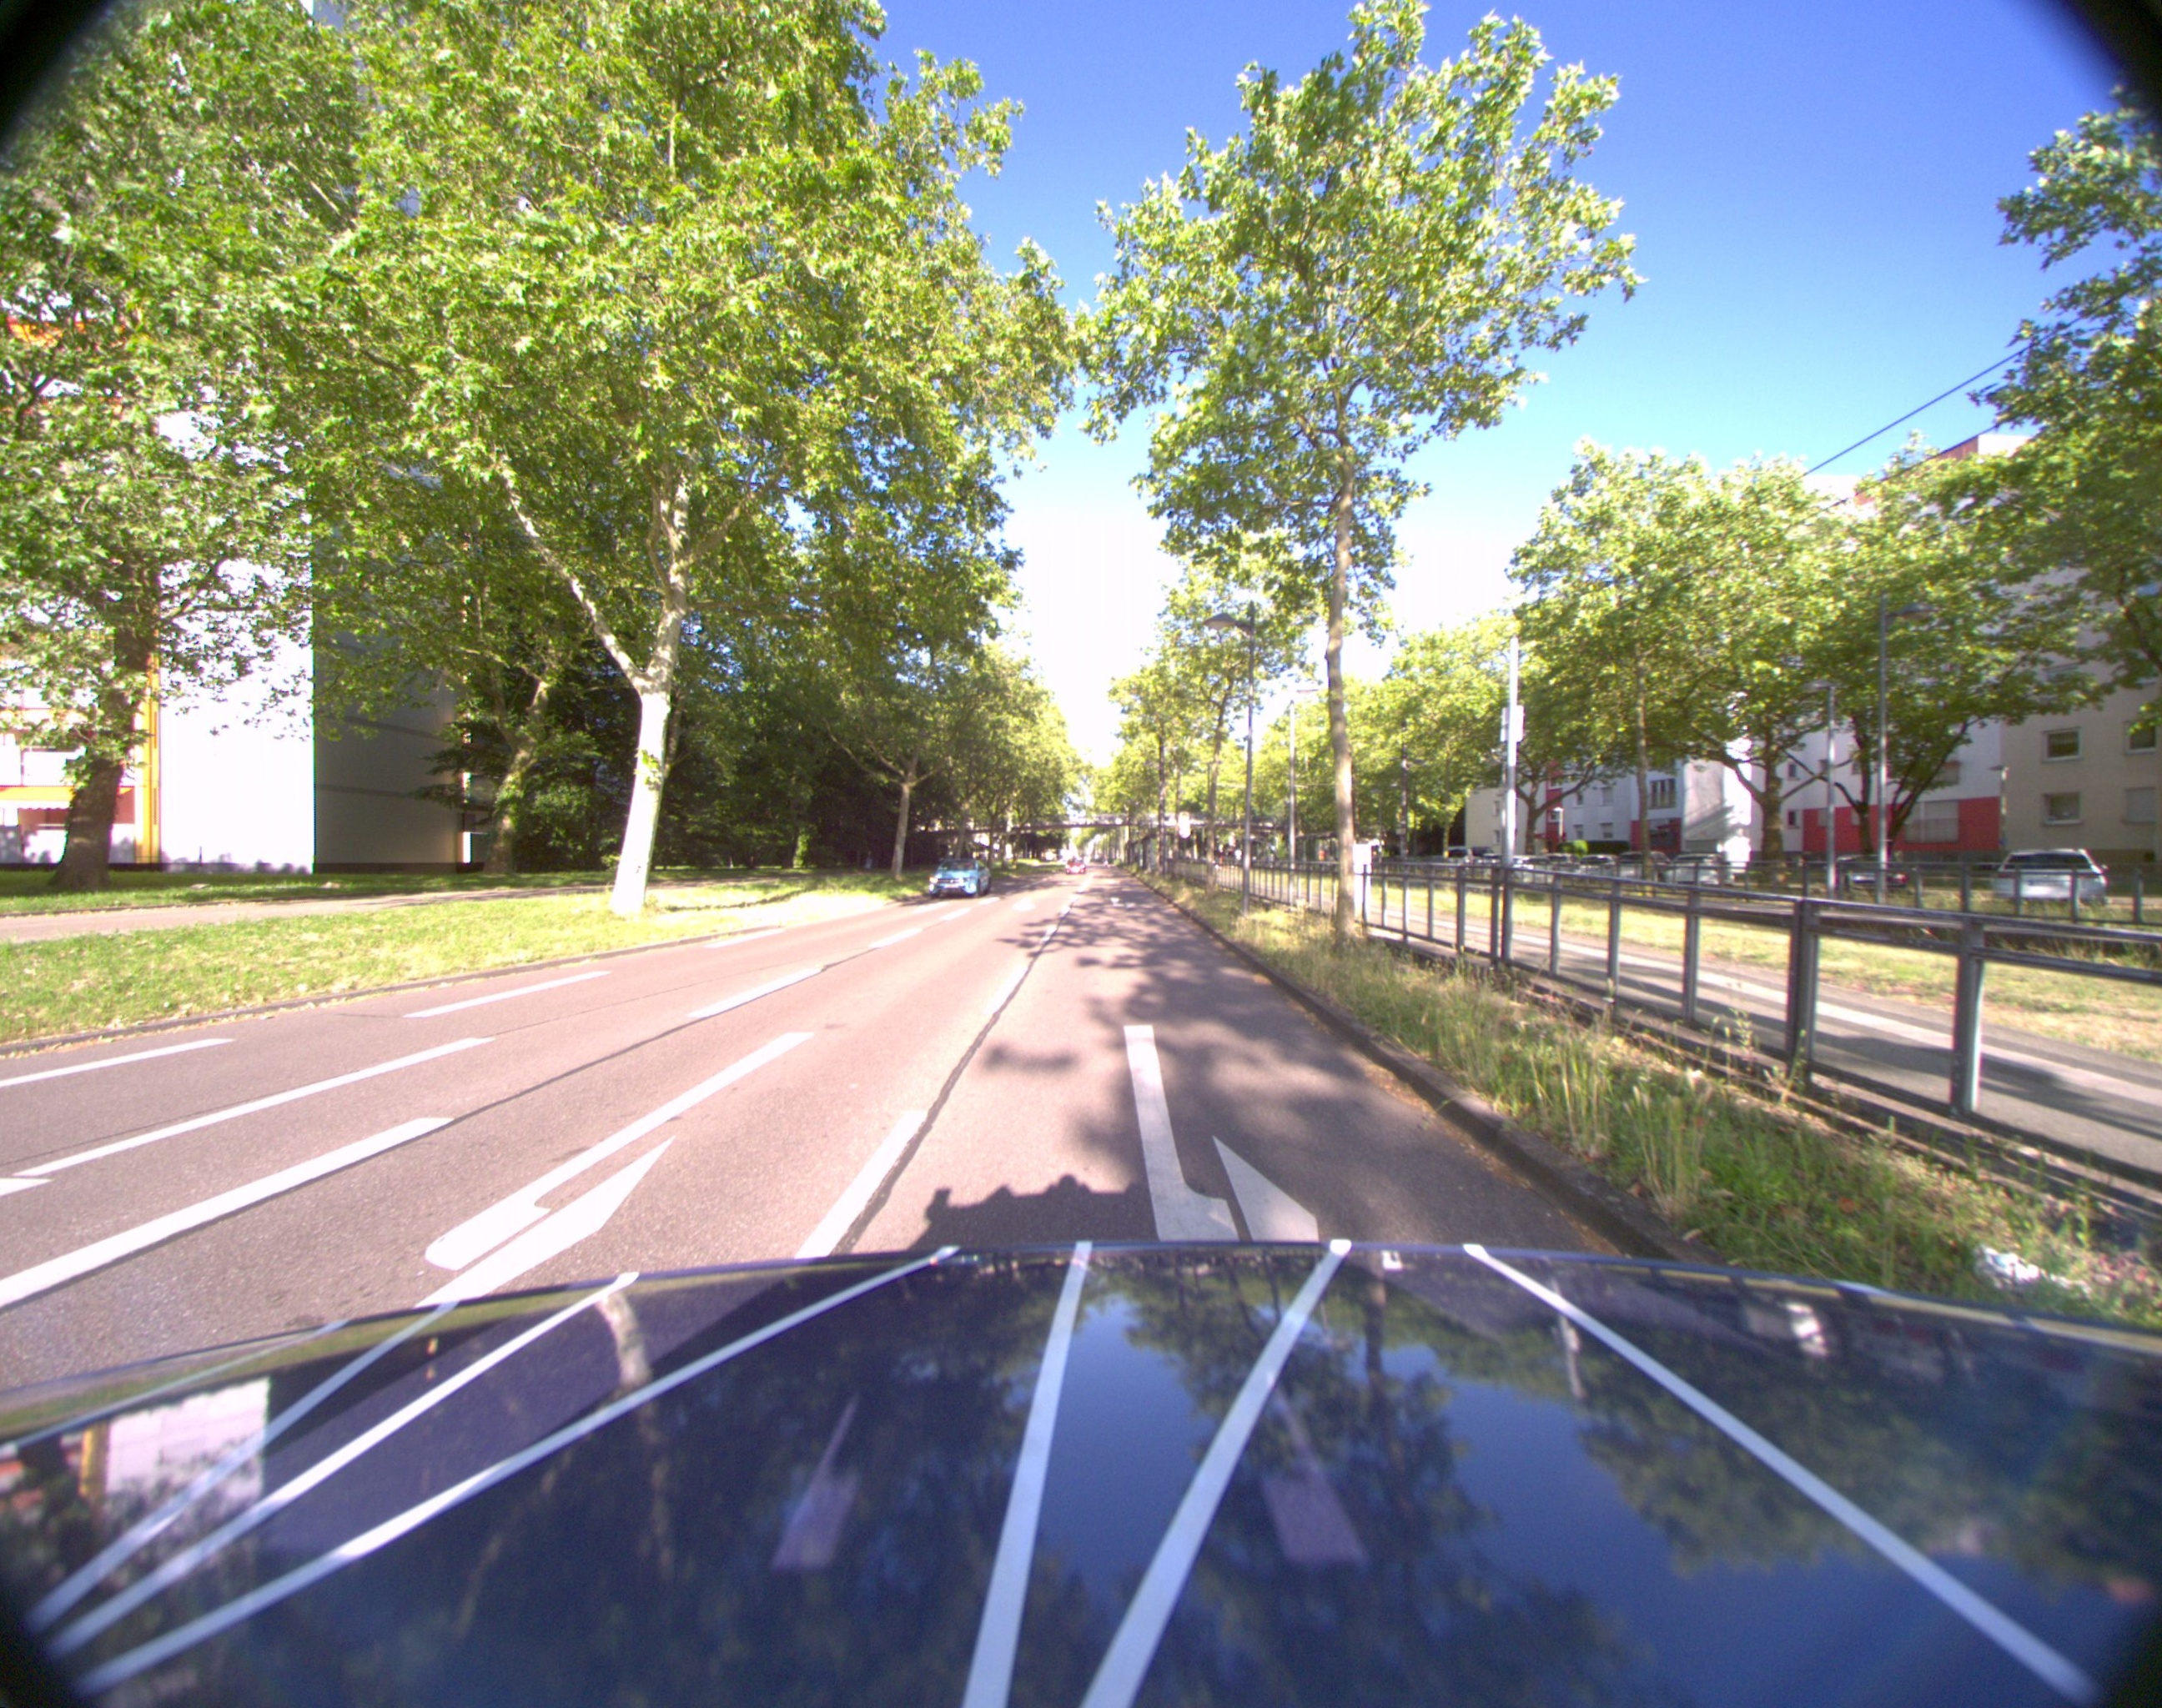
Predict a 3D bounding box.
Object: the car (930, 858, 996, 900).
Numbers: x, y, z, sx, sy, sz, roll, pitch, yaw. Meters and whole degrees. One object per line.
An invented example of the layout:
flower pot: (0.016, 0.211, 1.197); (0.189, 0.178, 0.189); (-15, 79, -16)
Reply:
car: (-4.494, 0.913, 29.493); (1.780, 1.475, 4.101); (-2, 0, 2)

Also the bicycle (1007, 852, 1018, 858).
bicycle: (-12.715, 0.204, 141.384); (2.073, 1.151, 0.561); (1, 1, -10)

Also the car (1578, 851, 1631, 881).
car: (26.309, 0.582, 38.109); (1.571, 1.424, 4.068); (-2, -1, 43)

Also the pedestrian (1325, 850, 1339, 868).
pedestrian: (16.410, 0.343, 49.715); (0.696, 1.121, 0.662); (3, 1, 2)

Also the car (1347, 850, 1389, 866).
car: (27.495, 0.400, 72.779); (4.208, 1.420, 1.696); (-2, -1, -37)

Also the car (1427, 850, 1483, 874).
car: (26.429, 0.561, 53.609); (4.509, 1.489, 1.895); (-2, -1, -40)

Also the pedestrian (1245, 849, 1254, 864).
pedestrian: (17.029, 0.204, 76.820); (0.644, 1.505, 0.683); (1, 1, -11)

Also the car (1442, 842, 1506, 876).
car: (26.021, 0.311, 50.251); (4.508, 2.051, 1.895); (-2, 0, -37)

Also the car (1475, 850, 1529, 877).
car: (26.317, 0.557, 47.465); (4.068, 1.601, 1.685); (-1, -1, -42)

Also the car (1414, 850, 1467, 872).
car: (27.086, 0.511, 57.180); (4.509, 1.489, 1.895); (-2, -1, -40)

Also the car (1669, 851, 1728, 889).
car: (25.409, 0.633, 31.236); (1.571, 1.465, 4.068); (-2, -1, 43)

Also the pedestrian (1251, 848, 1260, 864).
pedestrian: (17.474, 0.168, 76.192); (0.731, 1.625, 0.715); (1, 1, -1)

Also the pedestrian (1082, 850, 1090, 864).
pedestrian: (0.587, 0.390, 93.148); (0.658, 1.766, 0.741); (-1, -1, 39)

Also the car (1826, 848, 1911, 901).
car: (24.987, 0.617, 24.211); (1.642, 1.535, 4.184); (-2, -1, 43)

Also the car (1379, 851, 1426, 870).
car: (26.779, 0.565, 63.217); (4.208, 1.420, 1.696); (-2, -1, -37)

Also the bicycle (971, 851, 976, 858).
bicycle: (-20.097, 0.056, 142.339); (0.577, 1.246, 1.806); (-1, 1, 0)

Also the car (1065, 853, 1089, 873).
car: (-0.298, 0.735, 64.299); (1.898, 1.602, 4.000); (-1, 1, 1)

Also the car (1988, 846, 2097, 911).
car: (25.119, 0.583, 19.942); (4.001, 1.535, 1.642); (-1, -1, -40)

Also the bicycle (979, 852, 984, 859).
bicycle: (-18.310, 0.227, 139.510); (0.577, 1.246, 1.806); (-1, 1, 0)

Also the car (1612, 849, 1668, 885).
car: (25.815, 0.584, 35.034); (1.571, 1.559, 4.068); (-2, -1, 43)

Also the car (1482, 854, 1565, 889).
car: (19.842, 0.749, 34.258); (1.635, 1.441, 3.718); (-1, 1, 1)

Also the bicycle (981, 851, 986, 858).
bicycle: (-18.528, 0.072, 144.420); (0.577, 1.246, 1.806); (-1, 1, 0)

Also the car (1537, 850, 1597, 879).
car: (26.349, 0.552, 41.124); (1.895, 1.495, 4.509); (-2, -1, 43)

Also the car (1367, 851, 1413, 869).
car: (26.882, 0.536, 66.055); (4.208, 1.420, 1.696); (-2, -1, -37)
